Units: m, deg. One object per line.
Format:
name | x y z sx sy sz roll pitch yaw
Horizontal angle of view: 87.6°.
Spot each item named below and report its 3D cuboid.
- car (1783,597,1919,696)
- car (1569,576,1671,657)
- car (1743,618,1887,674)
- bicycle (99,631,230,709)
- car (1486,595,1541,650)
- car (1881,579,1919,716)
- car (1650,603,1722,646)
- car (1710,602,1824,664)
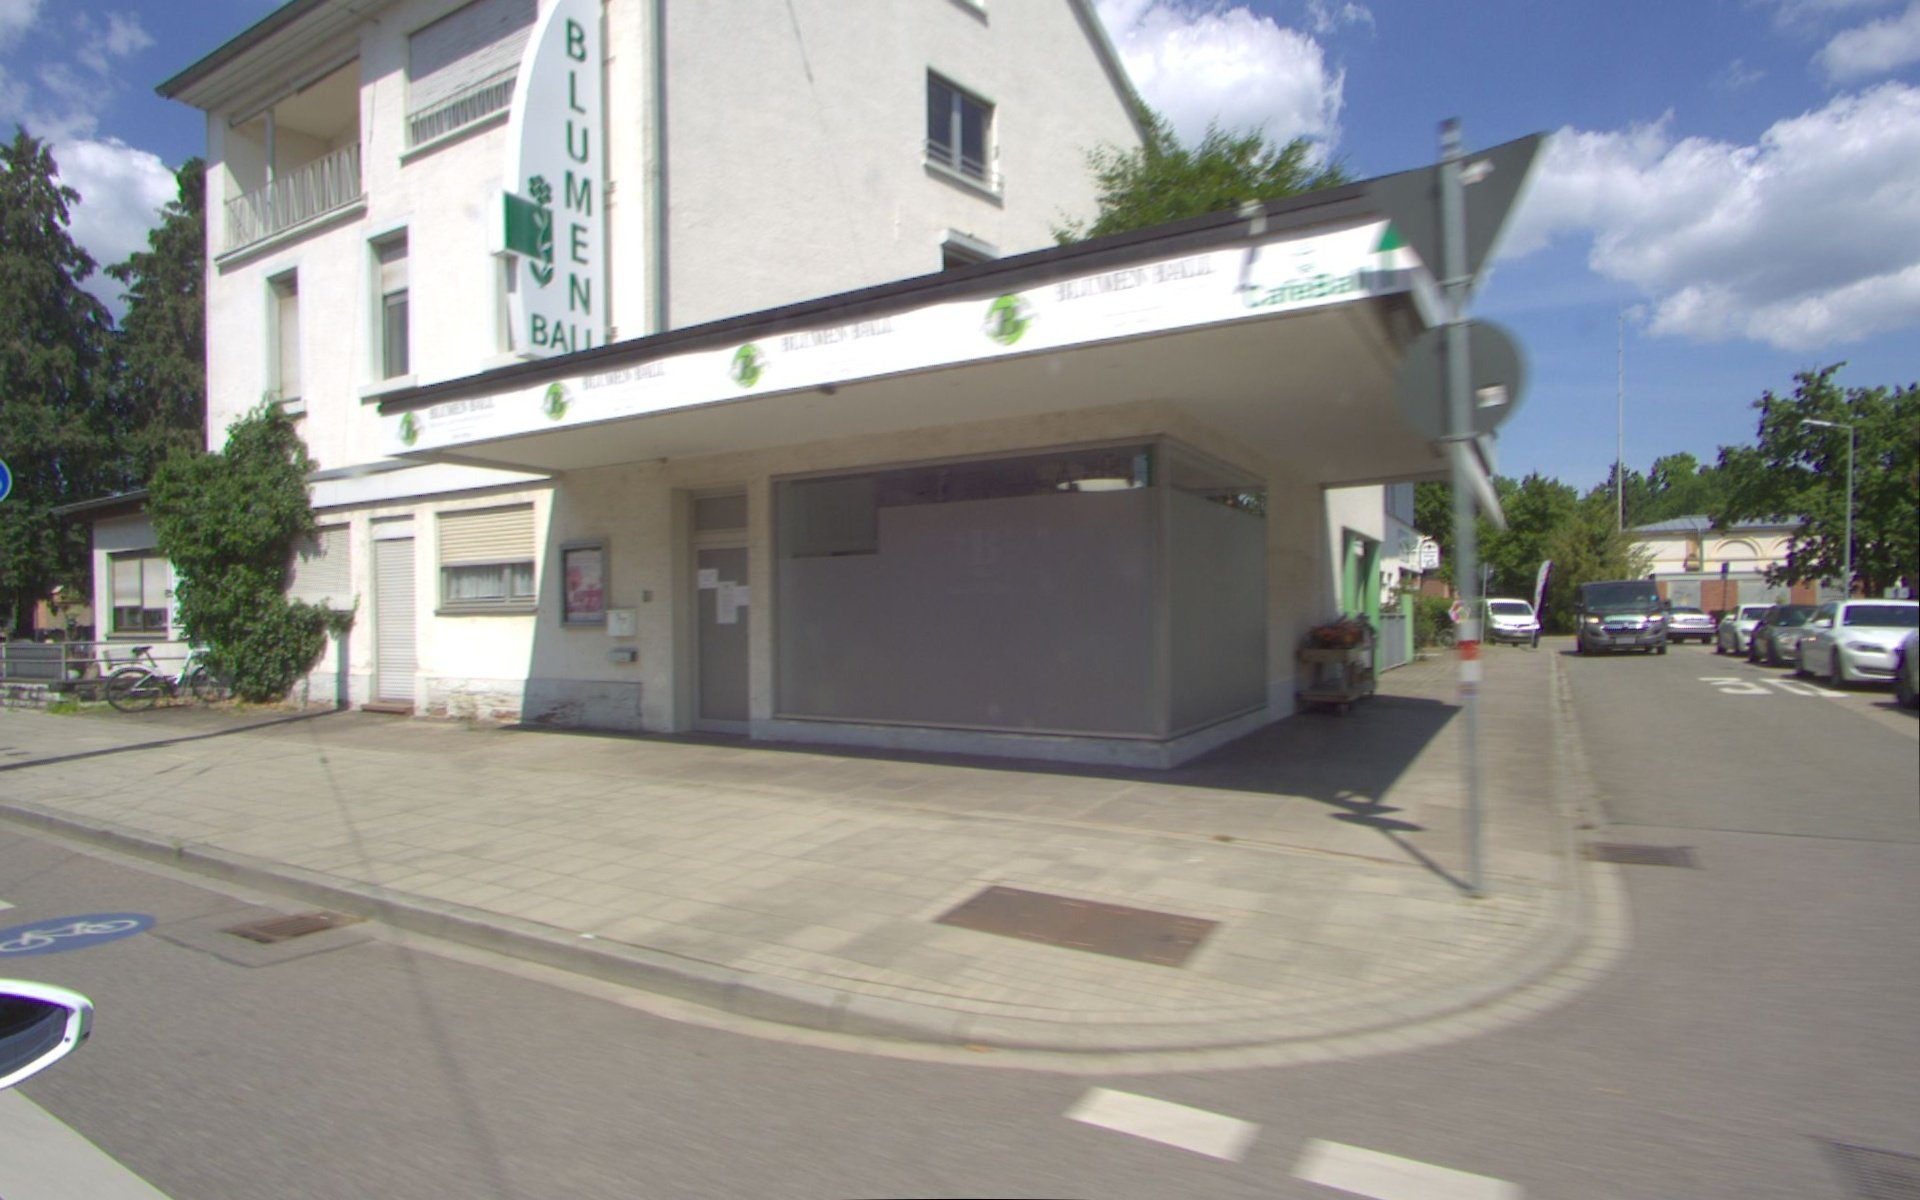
car | 15.486 0.712 16.818 1.915 1.469 4.394 1 0 31
car | 19.578 0.498 29.916 2.163 2.209 4.511 -1 -1 29
car | 18.916 0.975 22.334 1.837 1.057 3.671 1 0 31
bicycle | -12.494 1.072 15.768 0.424 1.101 1.527 -1 1 37
car | 21.332 0.850 38.647 1.748 2.011 4.161 -1 -1 29
car | 12.252 0.587 11.254 1.915 1.678 4.394 1 0 31
car | 27.011 0.864 37.341 1.837 1.492 3.671 1 0 31
car | 21.421 0.816 26.724 1.837 1.492 3.671 1 0 31
